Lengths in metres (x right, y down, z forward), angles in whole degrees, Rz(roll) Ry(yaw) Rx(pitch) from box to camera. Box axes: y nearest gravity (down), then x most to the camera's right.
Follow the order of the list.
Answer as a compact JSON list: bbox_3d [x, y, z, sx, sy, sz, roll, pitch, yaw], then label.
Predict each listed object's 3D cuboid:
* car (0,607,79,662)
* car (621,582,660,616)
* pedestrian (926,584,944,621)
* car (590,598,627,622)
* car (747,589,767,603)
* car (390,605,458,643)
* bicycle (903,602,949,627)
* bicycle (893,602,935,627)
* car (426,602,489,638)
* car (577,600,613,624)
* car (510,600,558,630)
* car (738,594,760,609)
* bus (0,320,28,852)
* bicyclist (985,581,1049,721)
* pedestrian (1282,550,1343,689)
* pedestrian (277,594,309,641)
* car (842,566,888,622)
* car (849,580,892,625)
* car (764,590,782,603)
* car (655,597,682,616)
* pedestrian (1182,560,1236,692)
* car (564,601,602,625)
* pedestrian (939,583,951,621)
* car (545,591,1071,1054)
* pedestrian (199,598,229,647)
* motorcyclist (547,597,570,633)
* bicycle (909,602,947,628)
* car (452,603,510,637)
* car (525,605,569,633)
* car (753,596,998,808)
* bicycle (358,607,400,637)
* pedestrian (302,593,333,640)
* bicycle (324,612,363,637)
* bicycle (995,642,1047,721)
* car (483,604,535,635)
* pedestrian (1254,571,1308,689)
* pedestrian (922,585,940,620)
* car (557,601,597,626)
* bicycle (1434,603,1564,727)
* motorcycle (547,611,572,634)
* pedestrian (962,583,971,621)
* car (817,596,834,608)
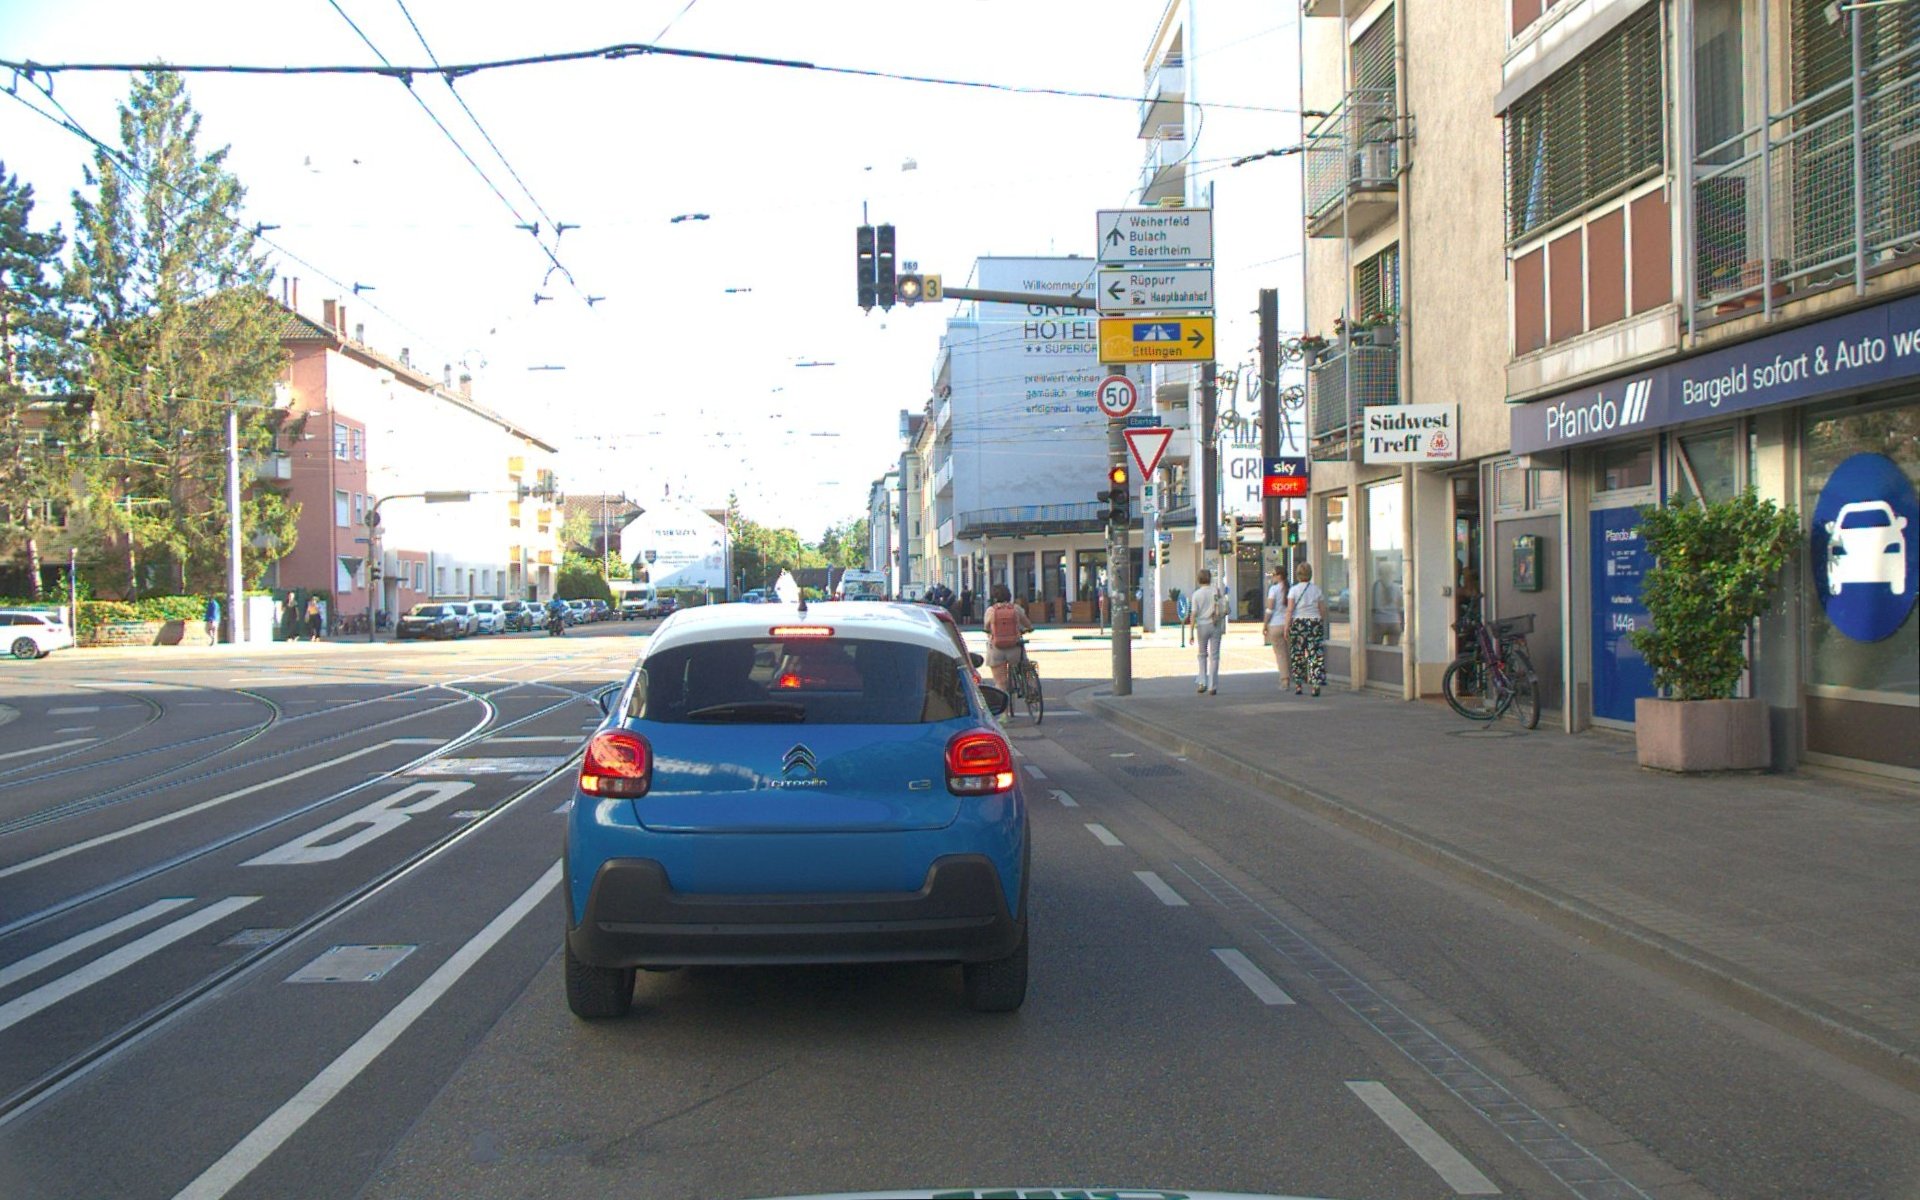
[{"bbox_3d":[-29.650,1.085,50.690,4.313,1.601,1.849,-1,0,-15],"label":"car"},{"bbox_3d":[-22.947,-0.089,118.962,2.164,2.290,4.672,-1,0,-5],"label":"car"},{"bbox_3d":[-1.102,0.113,72.477,0.637,1.583,0.490,-1,0,-23],"label":"pedestrian"},{"bbox_3d":[-25.721,0.720,121.194,1.990,1.647,4.508,-1,0,-3],"label":"car"},{"bbox_3d":[-22.956,-0.444,187.097,1.982,1.552,3.996,-1,0,-5],"label":"car"},{"bbox_3d":[-22.148,0.960,68.485,1.874,1.458,3.995,-1,0,-6],"label":"car"},{"bbox_3d":[-1.364,0.594,67.030,1.835,0.973,0.702,-1,0,1],"label":"bicycle"},{"bbox_3d":[-1.898,0.600,68.380,1.684,0.973,0.702,-1,0,1],"label":"bicycle"},{"bbox_3d":[-22.507,0.886,74.207,1.874,1.523,3.996,-1,0,-5],"label":"car"},{"bbox_3d":[-25.514,0.809,115.772,1.833,1.601,3.997,-1,0,-4],"label":"car"},{"bbox_3d":[-23.604,0.819,91.733,1.874,1.523,3.996,-1,0,-5],"label":"car"},{"bbox_3d":[-21.532,0.145,169.077,1.982,1.552,3.996,-1,0,-5],"label":"car"},{"bbox_3d":[-6.852,-0.049,6.390,2.684,3.217,7.570,-1,0,-5],"label":"bus"},{"bbox_3d":[0.694,0.608,20.297,0.711,1.674,0.790,-1,0,-1],"label":"bicyclist"},{"bbox_3d":[4.448,0.245,20.912,0.530,1.701,0.650,-3,0,-3],"label":"pedestrian"},{"bbox_3d":[-24.542,0.644,60.858,0.826,1.720,0.737,-1,0,2],"label":"pedestrian"},{"bbox_3d":[-4.163,-0.247,72.379,1.954,2.366,3.997,0,0,-4],"label":"car"},{"bbox_3d":[-3.666,0.098,67.471,1.698,1.780,3.211,0,0,-4],"label":"car"},{"bbox_3d":[-24.343,-0.465,215.135,1.957,1.713,3.990,-1,0,-10],"label":"car"},{"bbox_3d":[-25.375,0.562,144.102,1.982,1.552,3.996,-1,0,-5],"label":"car"},{"bbox_3d":[3.336,0.337,22.161,0.530,1.701,0.624,-3,2,-3],"label":"pedestrian"},{"bbox_3d":[-25.196,0.856,110.684,1.874,1.523,3.996,-1,0,-5],"label":"car"},{"bbox_3d":[-0.634,0.075,69.712,0.482,1.583,0.383,-1,0,-4],"label":"pedestrian"},{"bbox_3d":[-0.709,0.710,7.406,1.710,1.488,3.994,0,0,-7],"label":"car"},{"bbox_3d":[-25.910,0.769,57.439,0.841,1.654,0.509,-1,0,-35],"label":"pedestrian"},{"bbox_3d":[-16.221,0.603,66.874,0.704,1.402,0.911,-1,0,-1],"label":"motorcyclist"},{"bbox_3d":[-1.259,0.594,65.972,1.473,0.973,0.702,-1,0,1],"label":"bicycle"},{"bbox_3d":[-22.784,0.916,78.826,1.874,1.523,3.996,-1,0,-5],"label":"car"},{"bbox_3d":[-24.268,1.096,97.295,1.874,1.523,3.996,-1,0,-5],"label":"car"},{"bbox_3d":[-0.619,0.713,13.631,1.703,1.445,3.999,-1,0,-1],"label":"car"},{"bbox_3d":[-25.700,0.963,73.201,0.831,1.247,3.302,-1,0,-2],"label":"bicycle"},{"bbox_3d":[-23.623,0.601,60.813,0.826,1.720,0.737,-1,0,2],"label":"pedestrian"},{"bbox_3d":[-25.088,0.988,67.377,0.718,0.968,2.596,-1,0,-2],"label":"bicycle"},{"bbox_3d":[0.748,0.997,20.656,0.489,0.879,1.748,-1,0,-3],"label":"bicycle"},{"bbox_3d":[-23.323,0.985,85.599,1.874,1.523,3.996,-1,0,-5],"label":"car"},{"bbox_3d":[4.329,0.390,22.322,0.530,1.534,0.611,-3,2,-3],"label":"pedestrian"},{"bbox_3d":[-1.307,0.116,74.278,0.637,1.583,0.490,-1,0,-23],"label":"pedestrian"},{"bbox_3d":[-24.470,0.847,105.696,1.874,1.523,3.996,-1,0,-5],"label":"car"},{"bbox_3d":[5.115,0.584,15.794,0.519,1.091,1.809,-1,0,-4],"label":"bicycle"},{"bbox_3d":[-16.228,0.895,67.028,0.603,0.879,1.670,-1,0,-1],"label":"motorcycle"},{"bbox_3d":[0.278,0.074,70.153,0.279,1.583,0.304,-1,0,-10],"label":"pedestrian"},{"bbox_3d":[-15.483,0.211,189.746,1.722,1.281,3.826,-1,0,-8],"label":"car"}]
